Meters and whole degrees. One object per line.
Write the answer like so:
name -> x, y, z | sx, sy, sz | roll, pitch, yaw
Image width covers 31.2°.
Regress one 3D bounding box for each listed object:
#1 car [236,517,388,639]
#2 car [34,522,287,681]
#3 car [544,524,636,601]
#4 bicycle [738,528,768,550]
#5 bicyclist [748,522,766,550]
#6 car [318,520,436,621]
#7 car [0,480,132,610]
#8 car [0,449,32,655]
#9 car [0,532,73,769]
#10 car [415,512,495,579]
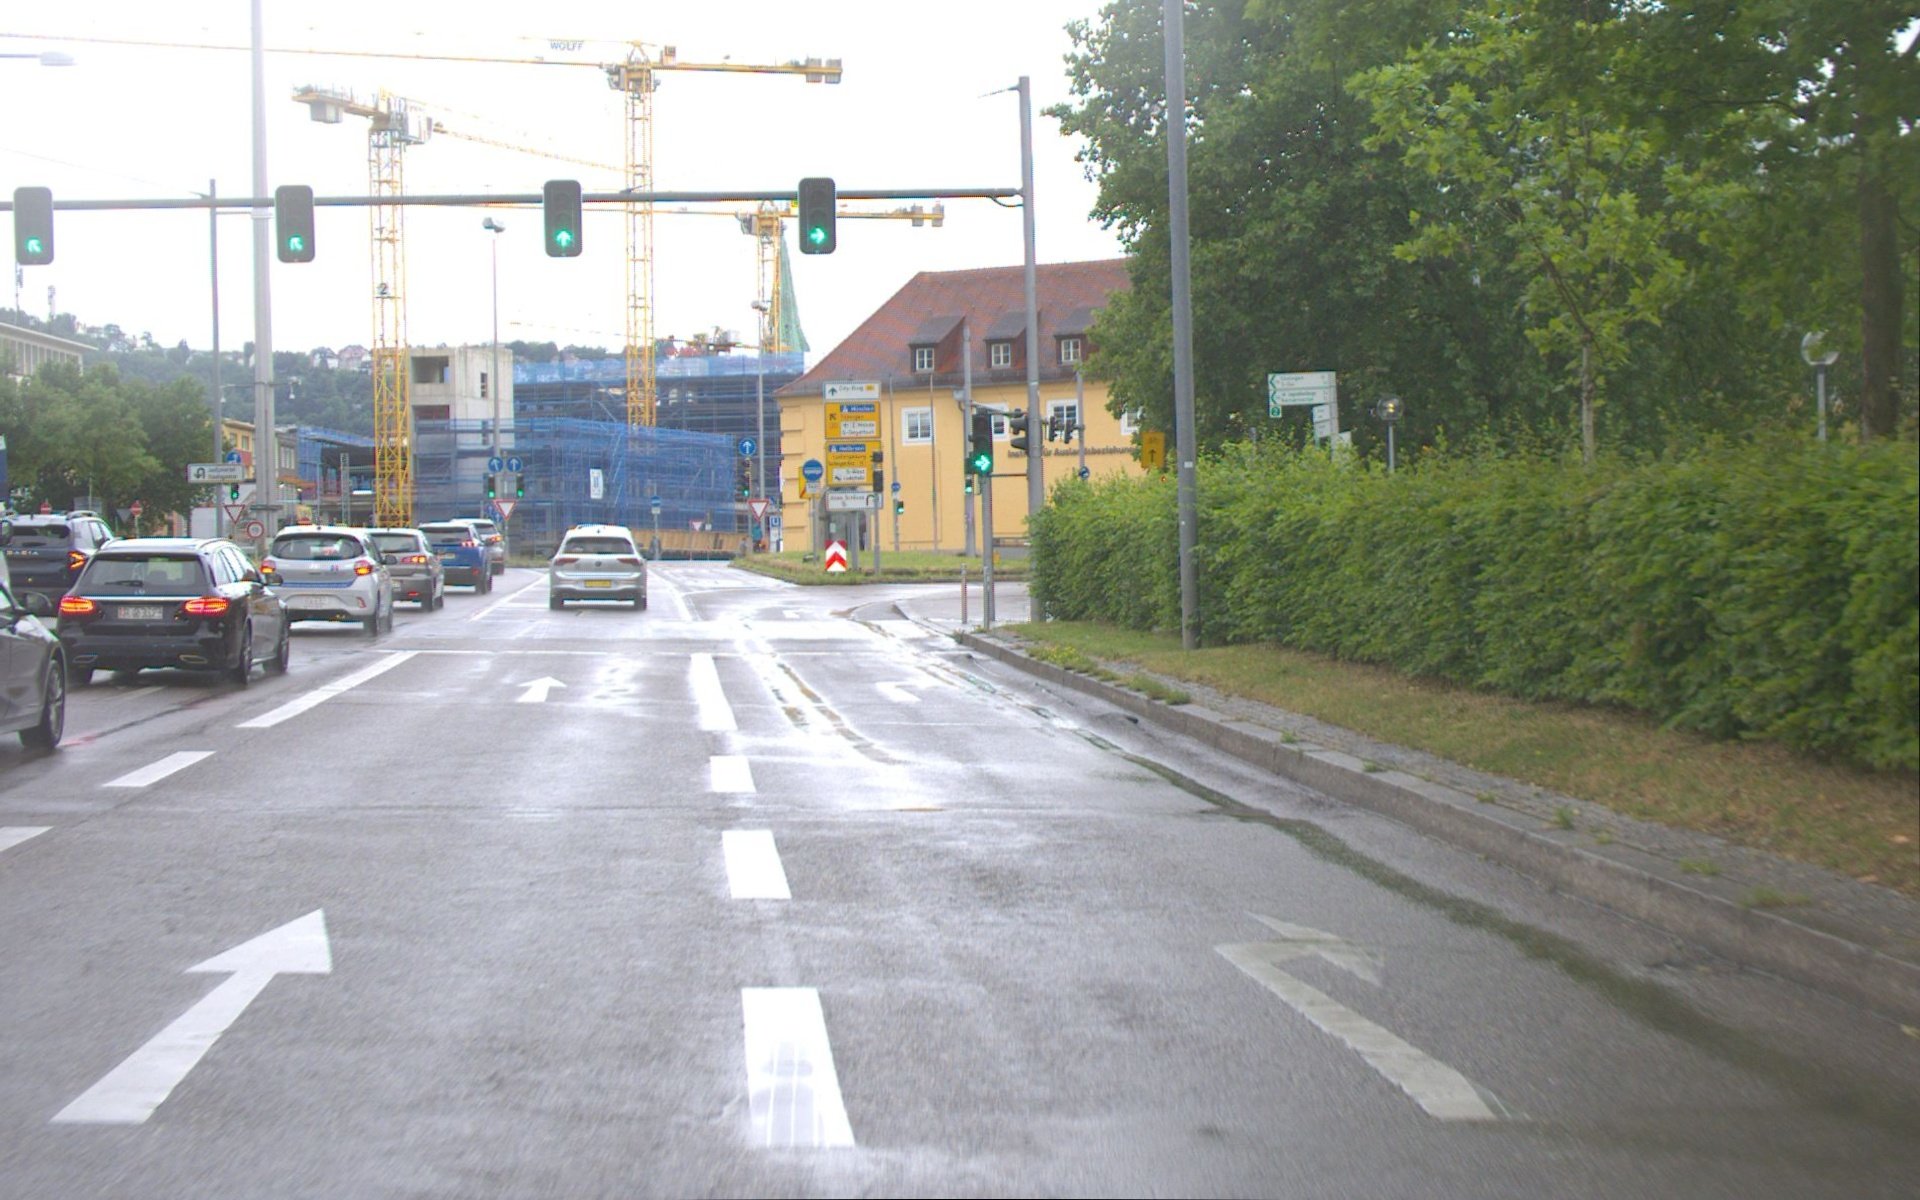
car -> -9.088, -0.295, 48.422 | 1.880, 1.647, 3.458 | 0, 0, -7
car -> -7.860, 0.014, 34.091 | 1.829, 1.489, 3.399 | 0, 0, -2
car -> -6.678, -0.673, 62.141 | 1.444, 1.354, 2.412 | 0, 0, -1
bicycle -> -9.722, -2.859, 161.599 | 0.880, 1.006, 1.993 | 0, 0, -20
bicyclist -> -9.513, -2.999, 161.242 | 0.703, 1.271, 0.635 | 0, 0, -20
car -> -10.220, -0.502, 60.447 | 1.716, 1.721, 3.495 | 0, 0, -4
car -> -12.228, -0.717, 46.794 | 1.464, 1.700, 3.142 | 0, 0, -6
car -> -11.818, -0.544, 37.547 | 2.292, 2.306, 5.006 | 0, 0, -4
car -> -7.030, 0.312, 22.454 | 1.753, 1.466, 4.223 | 0, 2, -5
car -> -10.806, -1.152, 73.652 | 1.493, 1.365, 3.034 | 0, 0, -5
